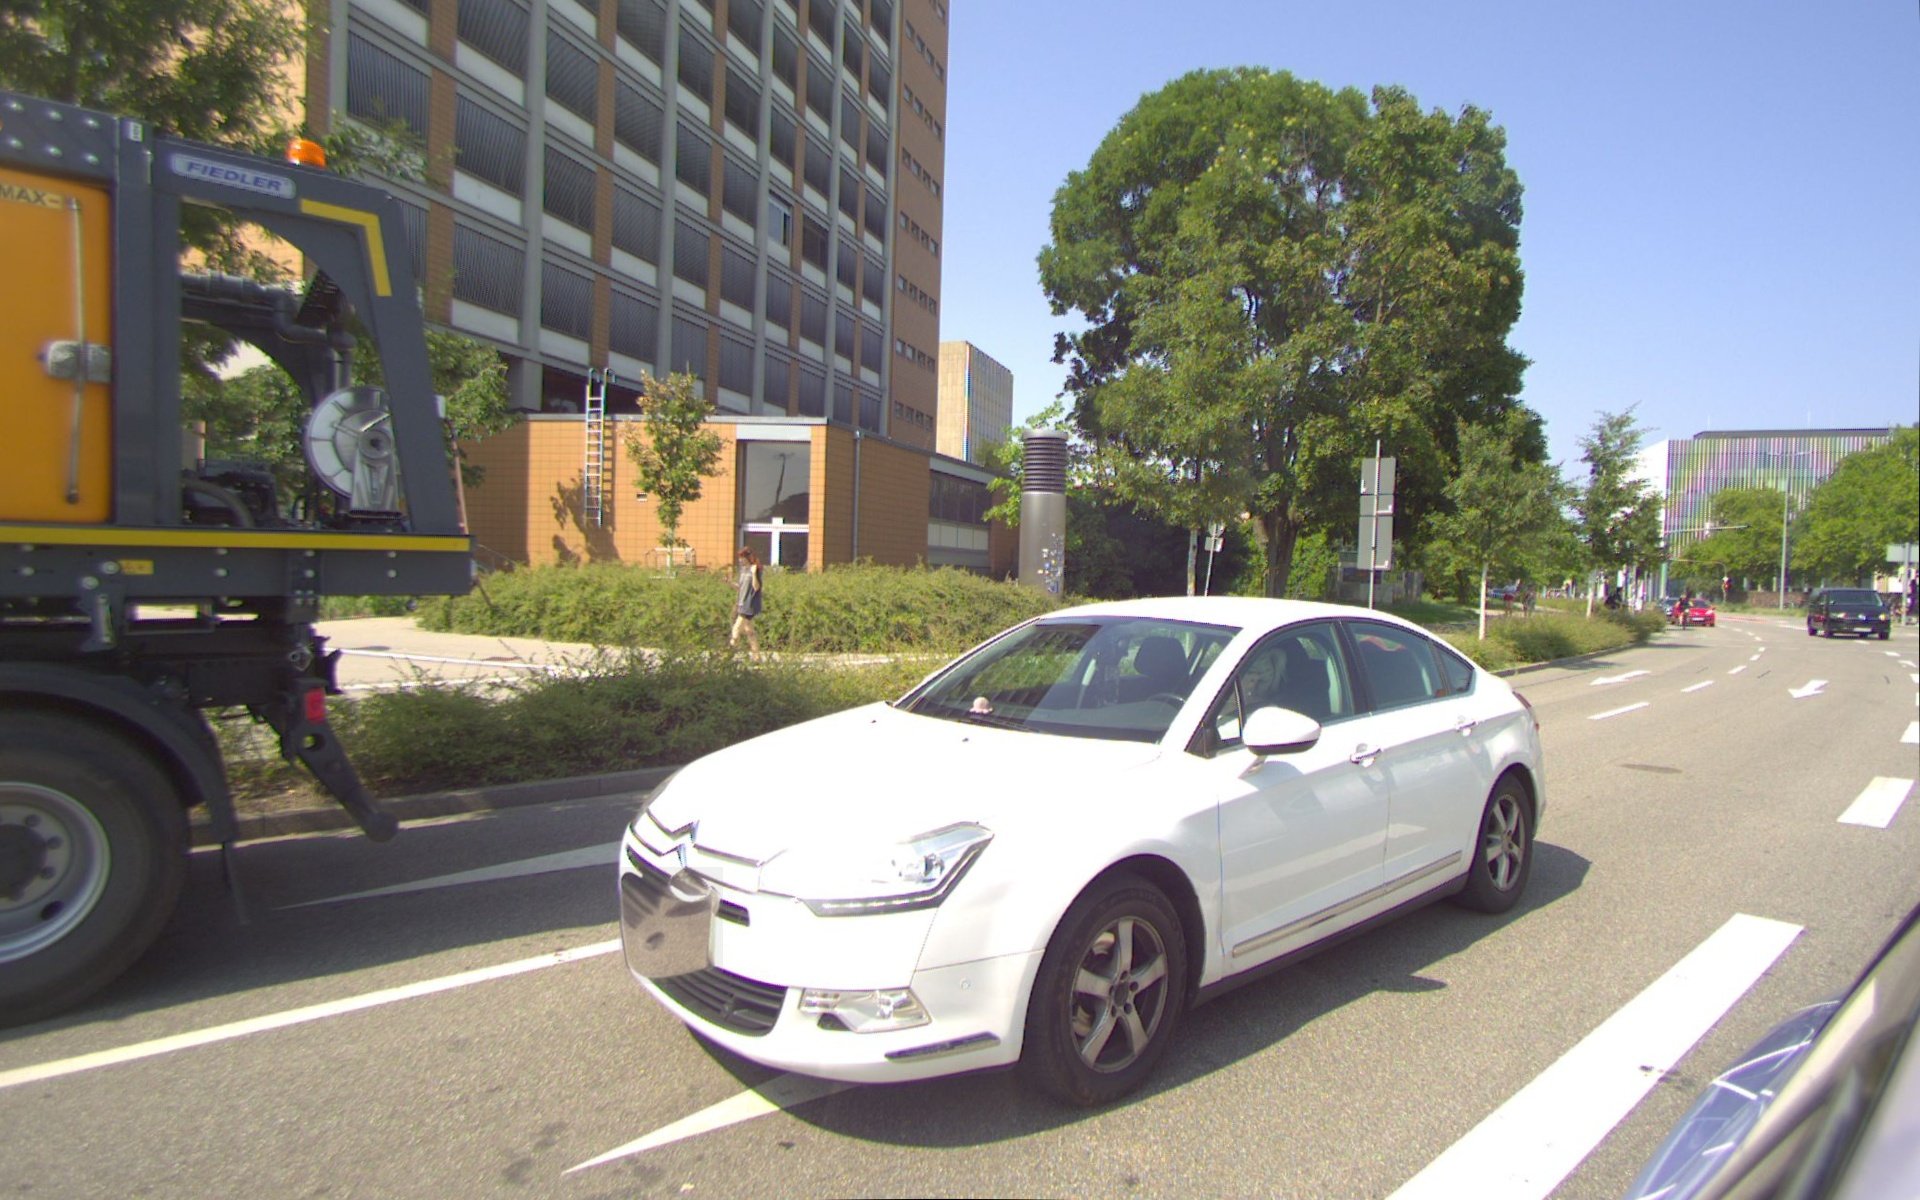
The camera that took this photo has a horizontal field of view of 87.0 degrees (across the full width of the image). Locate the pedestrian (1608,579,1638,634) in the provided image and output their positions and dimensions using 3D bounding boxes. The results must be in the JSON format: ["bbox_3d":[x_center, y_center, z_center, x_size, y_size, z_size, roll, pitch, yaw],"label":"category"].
[{"bbox_3d":[23.783,0.227,36.301,0.818,1.926,0.622,2,1,37],"label":"pedestrian"}]

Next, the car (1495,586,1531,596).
[{"bbox_3d":[83.165,-1.370,152.267,4.354,1.405,1.765,0,0,13],"label":"car"}]

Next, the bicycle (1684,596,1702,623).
[{"bbox_3d":[34.567,0.441,47.730,0.591,1.183,2.205,2,2,37],"label":"bicycle"}]

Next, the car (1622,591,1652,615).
[{"bbox_3d":[51.539,0.202,77.015,1.800,1.682,3.950,3,2,35],"label":"car"}]

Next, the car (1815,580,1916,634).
[{"bbox_3d":[35.034,0.221,39.288,1.874,1.943,4.489,1,1,28],"label":"car"}]

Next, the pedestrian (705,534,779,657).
[{"bbox_3d":[-3.139,-0.072,14.581,0.792,1.720,0.671,1,1,-41],"label":"pedestrian"}]

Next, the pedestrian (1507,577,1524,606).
[{"bbox_3d":[24.673,-0.375,44.977,0.630,1.315,0.481,0,0,32],"label":"pedestrian"}]

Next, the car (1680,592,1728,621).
[{"bbox_3d":[39.124,0.300,53.310,1.637,1.449,3.775,1,1,30],"label":"car"}]

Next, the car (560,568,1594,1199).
[{"bbox_3d":[0.894,0.643,4.337,4.528,1.446,1.773,0,2,-40],"label":"car"}]

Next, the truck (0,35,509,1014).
[{"bbox_3d":[-5.308,-0.273,3.130,6.736,3.173,2.498,0,2,-39],"label":"truck"}]

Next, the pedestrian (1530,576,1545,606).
[{"bbox_3d":[25.406,-0.379,44.517,0.572,1.315,0.433,0,0,31],"label":"pedestrian"}]

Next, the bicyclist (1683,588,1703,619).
[{"bbox_3d":[34.483,0.145,47.618,0.676,1.417,1.035,2,1,38],"label":"bicyclist"}]
